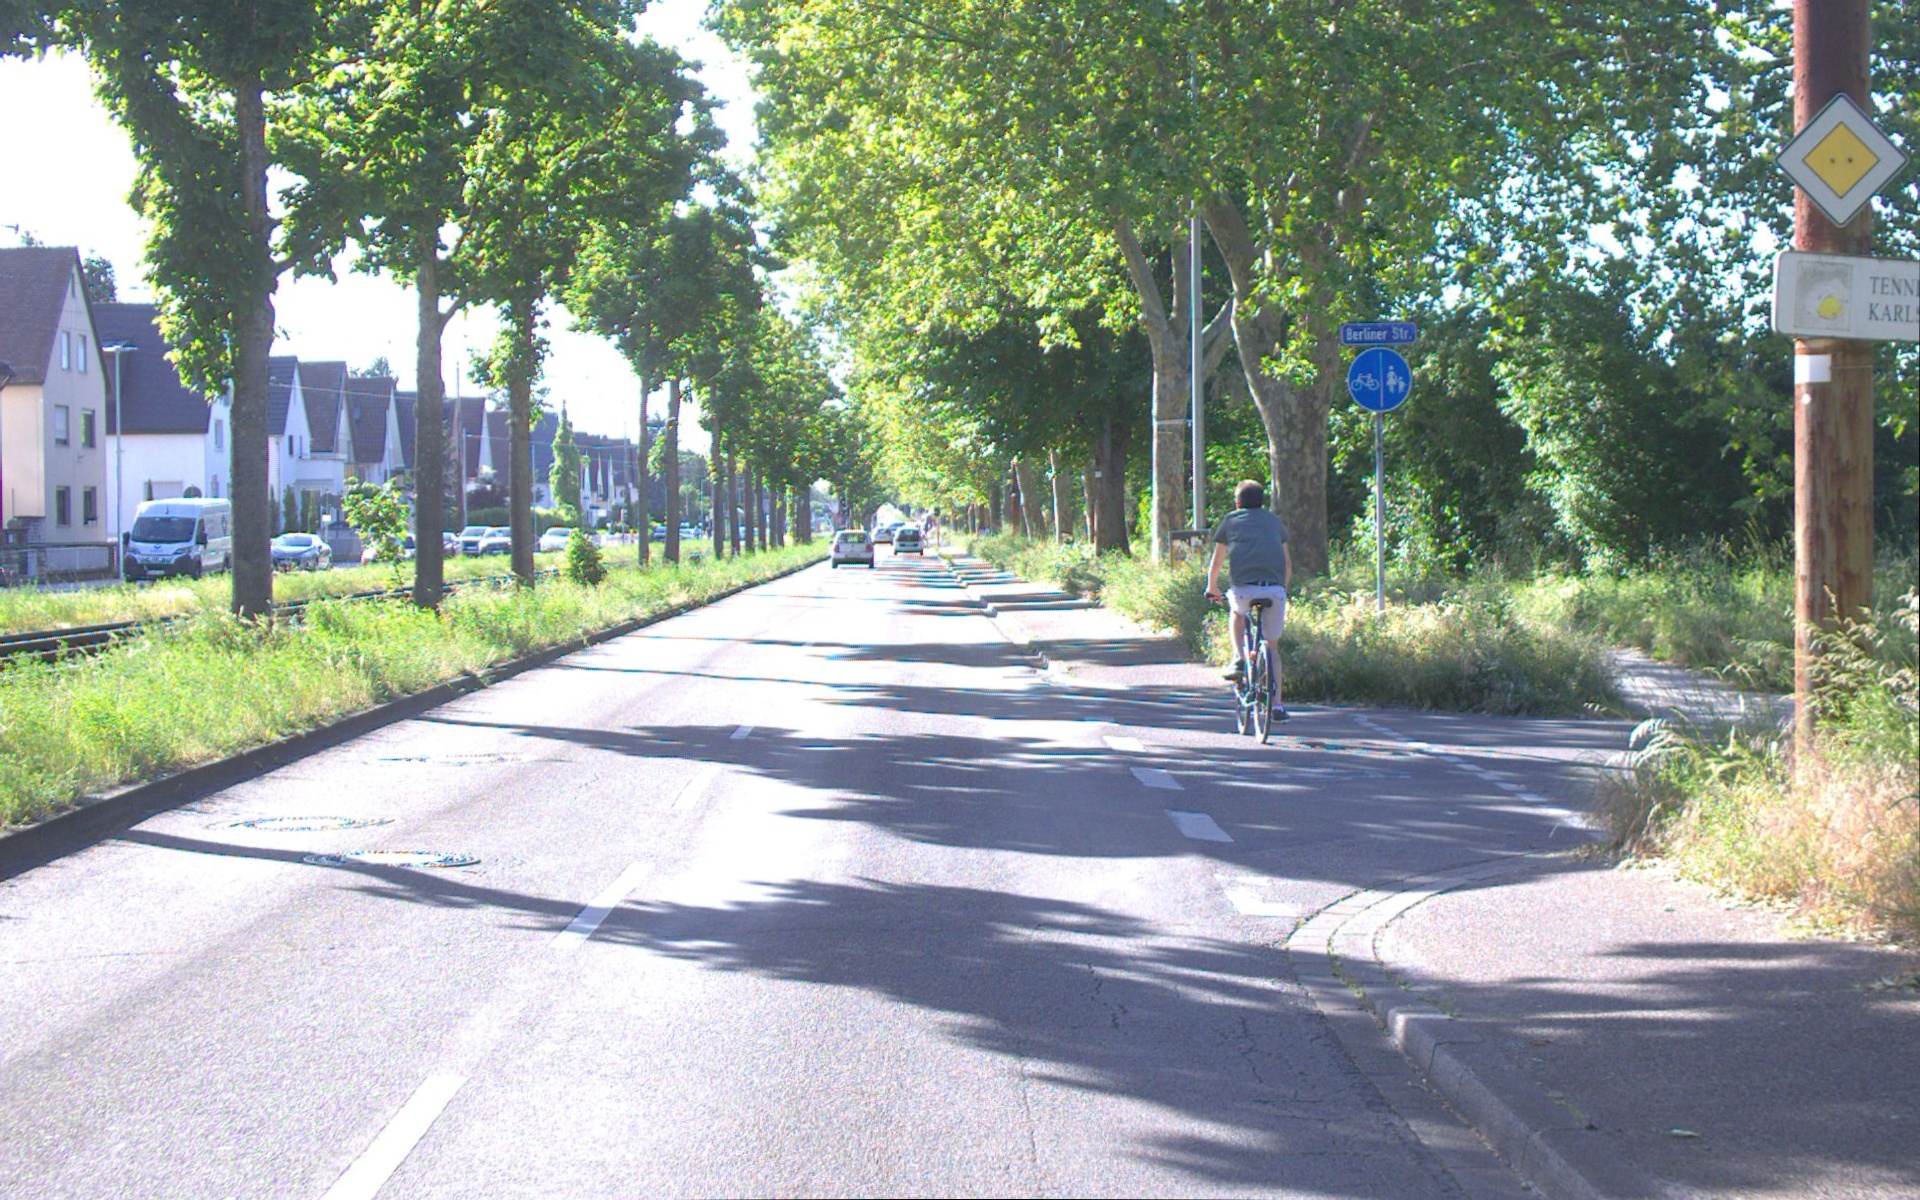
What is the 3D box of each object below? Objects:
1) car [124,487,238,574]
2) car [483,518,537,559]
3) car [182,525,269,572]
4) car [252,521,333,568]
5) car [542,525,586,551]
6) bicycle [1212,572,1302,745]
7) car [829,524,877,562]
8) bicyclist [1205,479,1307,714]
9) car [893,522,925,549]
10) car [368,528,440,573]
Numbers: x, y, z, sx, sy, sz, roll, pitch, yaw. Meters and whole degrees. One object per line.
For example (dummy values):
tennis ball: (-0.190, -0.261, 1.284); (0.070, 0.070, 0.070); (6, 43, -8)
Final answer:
car: (-22.986, -2.040, 101.675); (1.993, 2.451, 6.675); (0, 1, -1)
car: (-21.280, -2.912, 162.605); (1.915, 1.876, 4.524); (1, 1, 0)
car: (-22.954, -1.613, 107.547); (1.824, 1.407, 4.658); (0, 1, -1)
car: (-23.516, -1.967, 121.305); (1.993, 1.576, 4.498); (1, 2, 0)
car: (-24.752, -3.891, 214.962); (1.994, 1.593, 4.731); (1, 1, 3)
bicycle: (2.099, 0.393, 24.397); (0.440, 1.149, 1.823); (-1, 1, -1)
car: (-4.059, -2.172, 130.648); (1.738, 1.396, 3.277); (1, 1, -1)
bicyclist: (2.092, -0.033, 24.360); (0.613, 1.623, 0.909); (-1, 1, -1)
car: (-2.835, -3.589, 191.329); (1.761, 1.508, 3.277); (1, 1, 0)
car: (-17.849, -1.610, 110.490); (1.676, 1.405, 4.000); (-1, 1, -1)
